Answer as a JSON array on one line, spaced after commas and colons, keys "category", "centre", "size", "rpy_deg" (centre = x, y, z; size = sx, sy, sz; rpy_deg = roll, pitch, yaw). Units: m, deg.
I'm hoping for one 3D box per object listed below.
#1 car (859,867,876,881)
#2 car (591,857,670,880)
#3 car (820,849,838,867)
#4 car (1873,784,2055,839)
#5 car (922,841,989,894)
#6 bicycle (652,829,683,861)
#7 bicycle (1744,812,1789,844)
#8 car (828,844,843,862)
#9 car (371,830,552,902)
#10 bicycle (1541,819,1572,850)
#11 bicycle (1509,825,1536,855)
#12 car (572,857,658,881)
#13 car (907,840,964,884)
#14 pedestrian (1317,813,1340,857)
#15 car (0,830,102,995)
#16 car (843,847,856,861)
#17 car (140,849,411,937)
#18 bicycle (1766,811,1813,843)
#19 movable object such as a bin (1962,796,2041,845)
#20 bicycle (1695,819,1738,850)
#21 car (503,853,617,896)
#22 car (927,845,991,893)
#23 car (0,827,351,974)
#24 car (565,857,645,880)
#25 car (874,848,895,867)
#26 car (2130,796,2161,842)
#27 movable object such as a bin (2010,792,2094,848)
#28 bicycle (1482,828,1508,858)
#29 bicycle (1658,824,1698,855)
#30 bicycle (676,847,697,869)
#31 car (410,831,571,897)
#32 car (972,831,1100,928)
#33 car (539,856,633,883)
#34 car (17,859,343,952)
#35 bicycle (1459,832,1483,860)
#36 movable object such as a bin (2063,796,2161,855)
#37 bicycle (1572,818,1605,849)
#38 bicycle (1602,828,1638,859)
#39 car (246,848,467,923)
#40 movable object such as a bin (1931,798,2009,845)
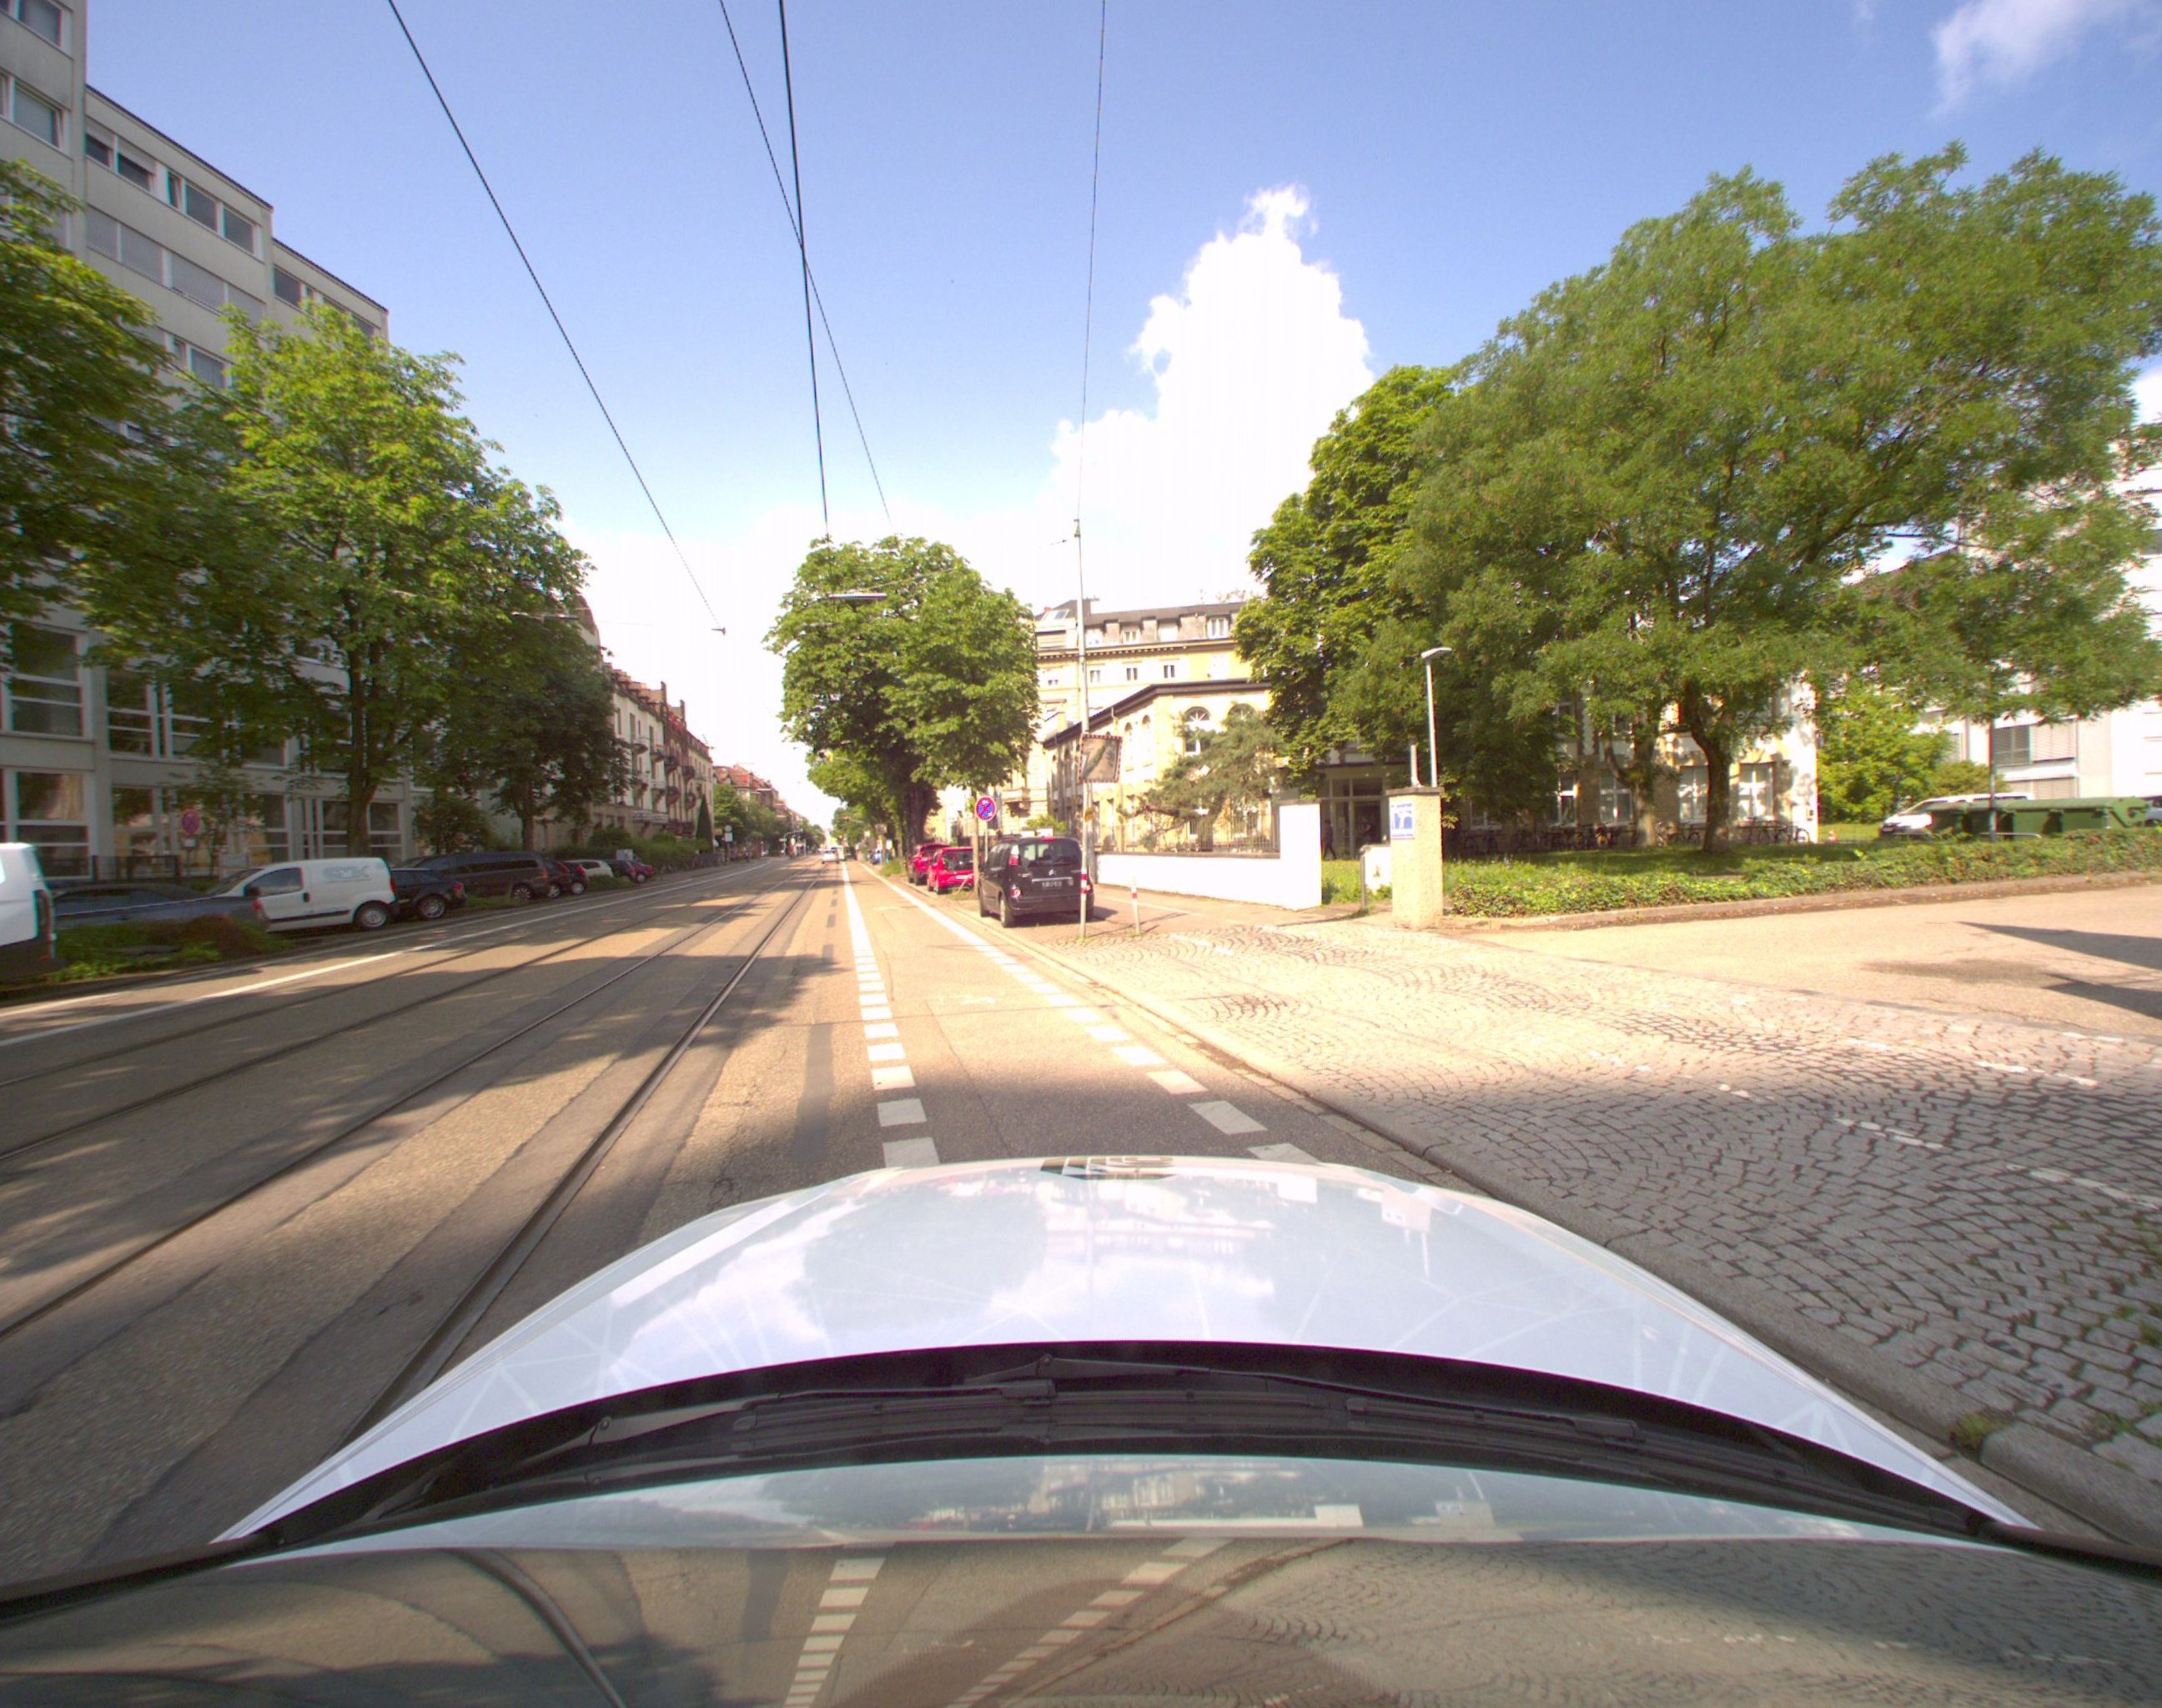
[{"category": "car", "centre": [-24.166, 2.298, 92.105], "size": [1.625, 1.517, 3.544], "rpy_deg": [1, -1, -17]}, {"category": "car", "centre": [-27.013, 0.899, 48.969], "size": [1.617, 1.306, 3.810], "rpy_deg": [0, -2, 35]}, {"category": "car", "centre": [-25.579, 0.428, 82.763], "size": [1.625, 1.684, 3.544], "rpy_deg": [1, -1, -17]}, {"category": "car", "centre": [37.362, -1.756, 34.620], "size": [4.905, 1.965, 2.006], "rpy_deg": [-1, -4, 12]}, {"category": "car", "centre": [-4.214, 0.414, 27.016], "size": [1.678, 1.611, 3.564], "rpy_deg": [-2, 0, -17]}, {"category": "bicycle", "centre": [-30.873, -0.635, 60.921], "size": [0.939, 2.319, 3.985], "rpy_deg": [1, -1, -11]}, {"category": "bicycle", "centre": [25.033, -0.932, 29.776], "size": [0.415, 1.056, 2.075], "rpy_deg": [1, -1, 15]}, {"category": "car", "centre": [-29.869, -0.108, 99.189], "size": [1.625, 2.000, 3.544], "rpy_deg": [1, -1, -17]}, {"category": "car", "centre": [-20.338, 0.453, 26.958], "size": [1.860, 2.082, 4.228], "rpy_deg": [3, -3, 28]}, {"category": "bicycle", "centre": [18.308, -0.740, 31.381], "size": [0.415, 1.056, 2.075], "rpy_deg": [-3, -2, 15]}, {"category": "bicycle", "centre": [17.287, -0.523, 31.926], "size": [0.415, 1.056, 2.075], "rpy_deg": [-3, -2, 15]}, {"category": "car", "centre": [-26.058, 0.852, 45.610], "size": [1.617, 1.306, 3.810], "rpy_deg": [0, -2, 35]}, {"category": "car", "centre": [-6.121, 0.353, 33.904], "size": [1.963, 1.706, 3.979], "rpy_deg": [1, -1, -15]}, {"category": "pedestrian", "centre": [9.662, -0.736, 31.824], "size": [0.765, 1.678, 0.811], "rpy_deg": [1, -1, 10]}, {"category": "car", "centre": [-14.328, 0.766, 8.692], "size": [1.907, 1.912, 4.672], "rpy_deg": [-1, 2, 32]}, {"category": "car", "centre": [-31.620, 0.075, 111.073], "size": [1.625, 1.849, 3.544], "rpy_deg": [1, -1, -17]}, {"category": "car", "centre": [-17.467, 0.797, 17.870], "size": [1.860, 1.712, 3.781], "rpy_deg": [0, -1, 28]}, {"category": "bicycle", "centre": [25.706, -0.960, 29.592], "size": [0.415, 1.056, 2.075], "rpy_deg": [1, -1, 15]}, {"category": "movable object such as a bin", "centre": [26.874, -0.975, 23.800], "size": [0.939, 1.349, 1.235], "rpy_deg": [1, -1, 4]}, {"category": "bicycle", "centre": [23.440, -0.704, 30.068], "size": [0.415, 1.056, 2.075], "rpy_deg": [-3, -2, 14]}, {"category": "car", "centre": [-21.786, 0.819, 34.173], "size": [1.612, 1.577, 3.628], "rpy_deg": [-2, 1, 34]}, {"category": "car", "centre": [-4.089, 0.482, 26.951], "size": [1.671, 1.486, 3.261], "rpy_deg": [-1, -1, -16]}, {"category": "car", "centre": [-14.726, 0.651, 12.698], "size": [1.879, 1.998, 4.602], "rpy_deg": [0, -1, 32]}, {"category": "car", "centre": [-28.880, 0.881, 49.502], "size": [1.617, 1.306, 3.810], "rpy_deg": [0, -2, 35]}, {"category": "car", "centre": [-17.905, 0.355, 74.141], "size": [1.625, 1.684, 3.544], "rpy_deg": [1, -1, -17]}, {"category": "car", "centre": [35.904, -1.175, 25.277], "size": [3.879, 1.420, 1.763], "rpy_deg": [-2, -2, 10]}, {"category": "movable object such as a bin", "centre": [26.799, -0.919, 22.497], "size": [0.873, 1.452, 1.236], "rpy_deg": [1, -1, 5]}, {"category": "bicycle", "centre": [16.237, -0.412, 32.002], "size": [0.415, 1.056, 2.075], "rpy_deg": [-3, -2, 15]}, {"category": "bicycle", "centre": [22.290, -0.531, 30.434], "size": [0.415, 1.056, 2.075], "rpy_deg": [-3, -2, 15]}, {"category": "bicycle", "centre": [-32.265, 0.362, 66.571], "size": [0.939, 1.746, 2.275], "rpy_deg": [1, -1, -11]}, {"category": "car", "centre": [-21.520, 0.413, 29.847], "size": [1.859, 2.082, 4.229], "rpy_deg": [2, -3, 34]}, {"category": "car", "centre": [-0.989, 0.423, 15.868], "size": [1.678, 1.611, 3.564], "rpy_deg": [-2, 1, -17]}, {"category": "car", "centre": [-25.747, 0.831, 42.476], "size": [1.617, 1.306, 3.810], "rpy_deg": [0, -2, 35]}, {"category": "car", "centre": [-16.457, 0.876, 15.109], "size": [1.741, 1.501, 3.657], "rpy_deg": [-1, -2, 25]}, {"category": "bicycle", "centre": [15.423, -0.298, 32.265], "size": [0.415, 1.056, 2.075], "rpy_deg": [-3, -2, 15]}, {"category": "movable object such as a bin", "centre": [26.667, -0.710, 20.992], "size": [1.094, 1.452, 1.345], "rpy_deg": [1, -1, 5]}, {"category": "bicycle", "centre": [19.514, -0.764, 31.344], "size": [0.415, 1.056, 2.075], "rpy_deg": [-3, -2, 15]}, {"category": "bicycle", "centre": [20.304, -0.379, 30.703], "size": [0.415, 1.056, 2.075], "rpy_deg": [-3, -2, 15]}, {"category": "car", "centre": [-18.448, 0.767, 20.923], "size": [1.860, 1.712, 3.781], "rpy_deg": [0, -1, 28]}, {"category": "movable object such as a bin", "centre": [27.446, -0.978, 25.183], "size": [0.939, 1.349, 1.383], "rpy_deg": [1, -1, 5]}]
